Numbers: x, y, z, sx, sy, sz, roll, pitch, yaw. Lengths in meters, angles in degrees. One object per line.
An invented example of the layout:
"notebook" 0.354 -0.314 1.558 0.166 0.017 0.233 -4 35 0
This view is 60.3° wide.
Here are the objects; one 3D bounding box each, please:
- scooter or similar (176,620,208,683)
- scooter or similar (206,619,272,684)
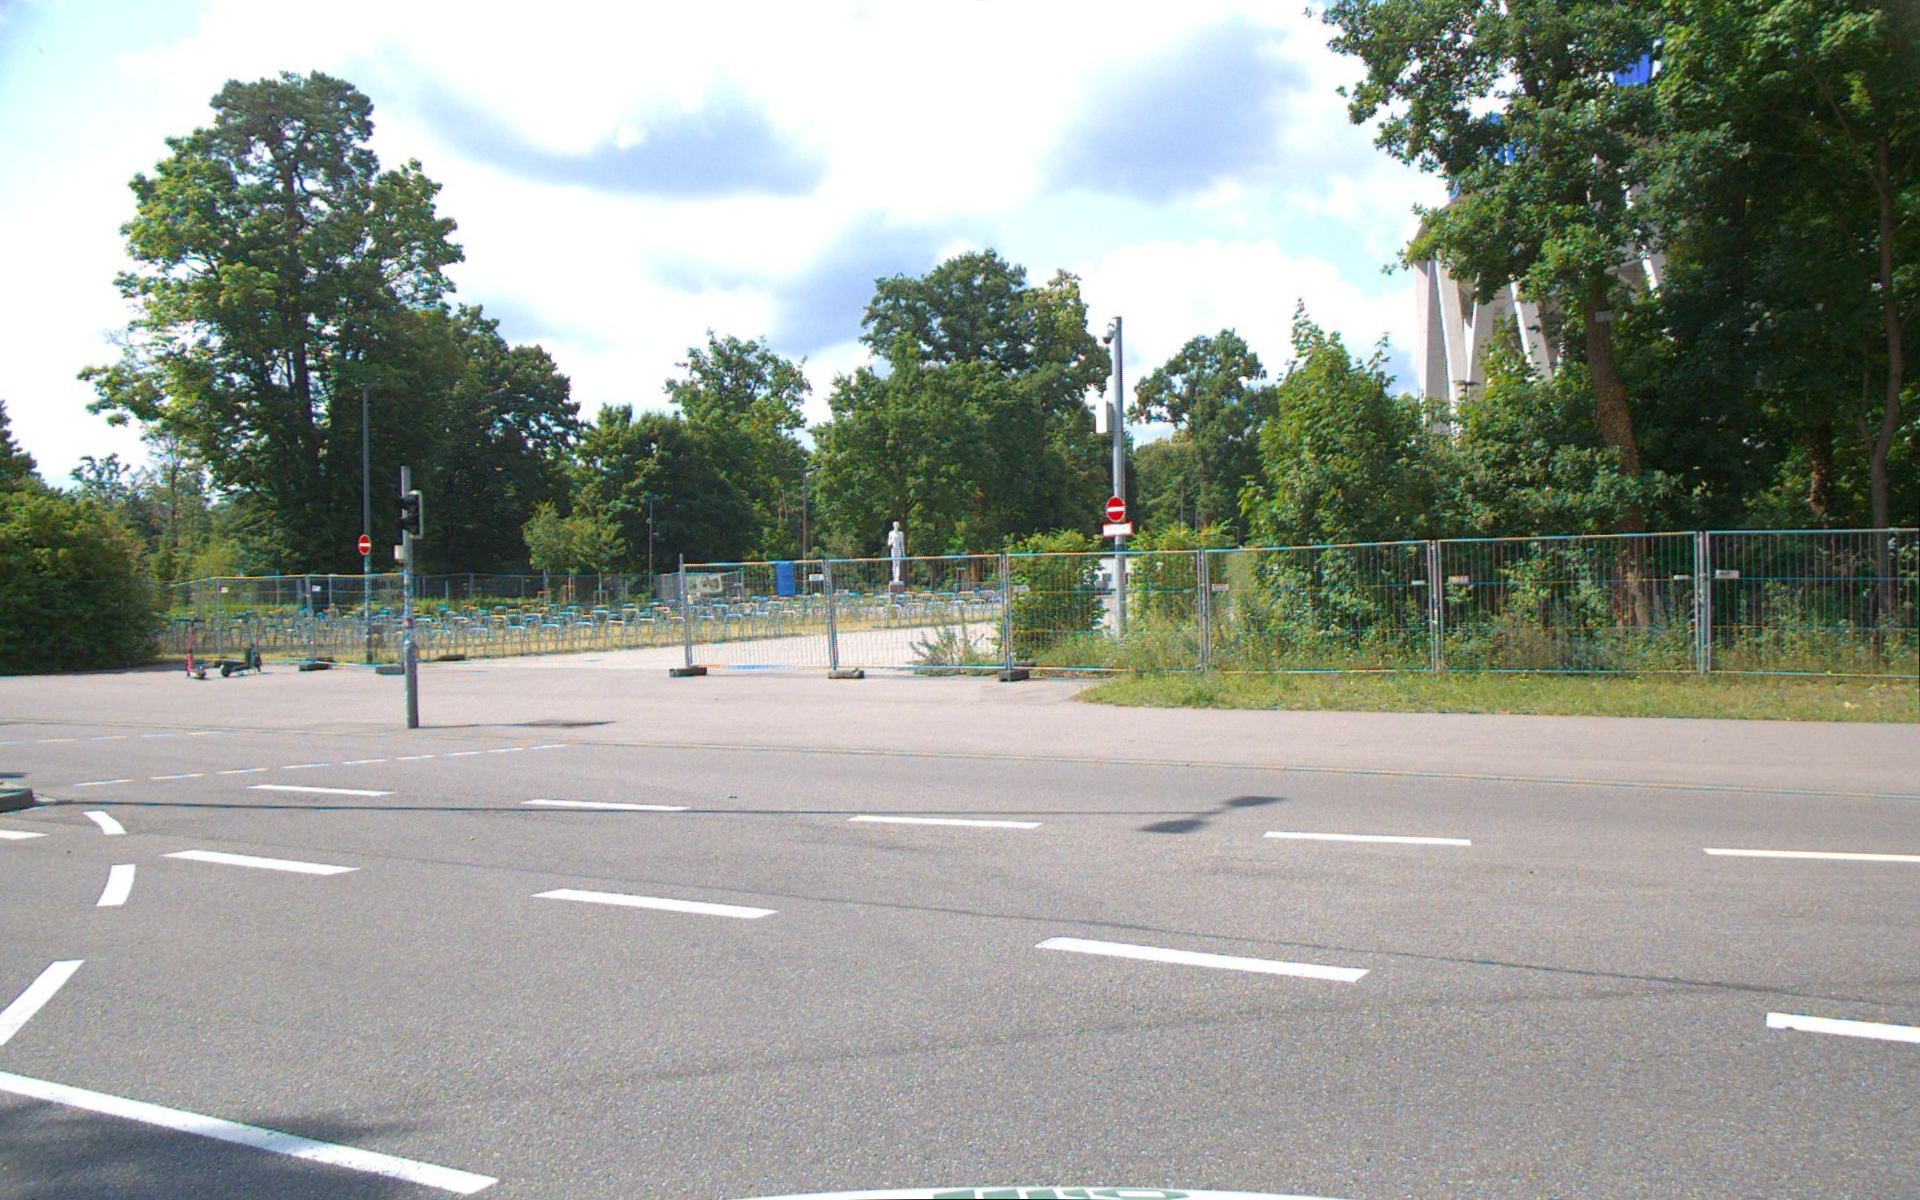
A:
"scooter or similar" -15.434 1.027 33.237 0.402 1.221 1.297 -2 1 -31
"scooter or similar" -14.936 1.062 34.291 0.398 1.274 1.312 -1 1 22
